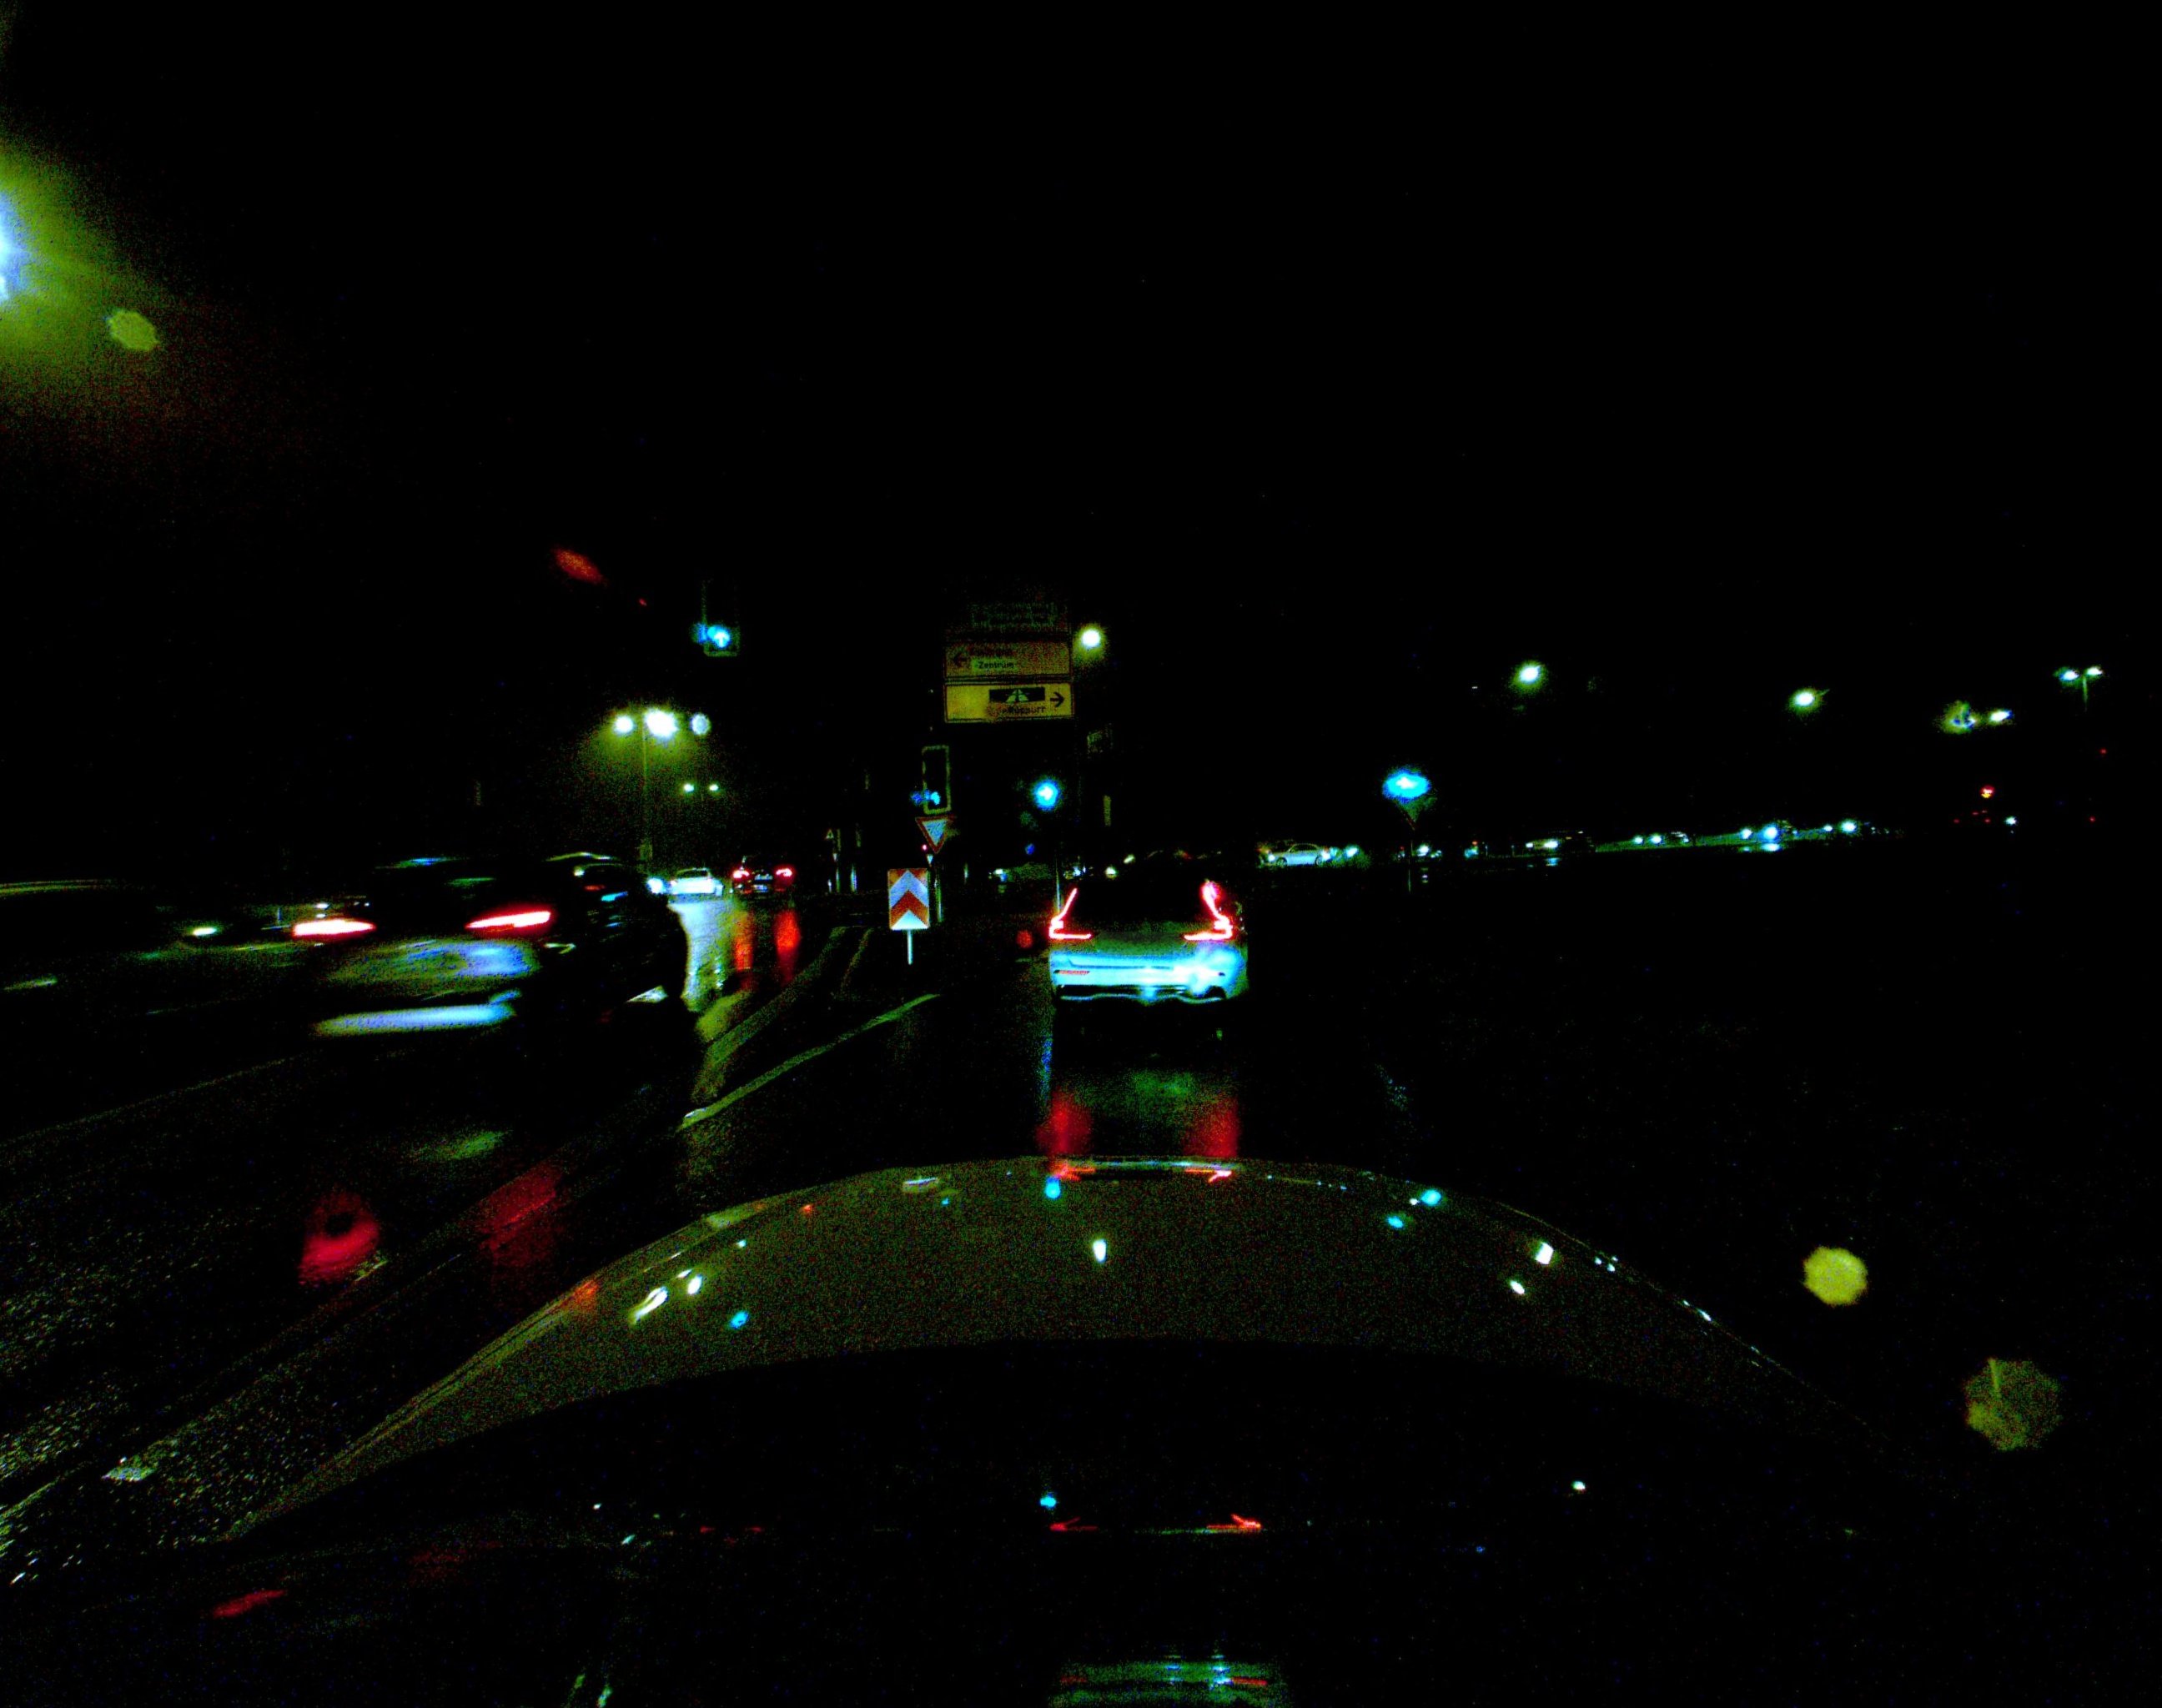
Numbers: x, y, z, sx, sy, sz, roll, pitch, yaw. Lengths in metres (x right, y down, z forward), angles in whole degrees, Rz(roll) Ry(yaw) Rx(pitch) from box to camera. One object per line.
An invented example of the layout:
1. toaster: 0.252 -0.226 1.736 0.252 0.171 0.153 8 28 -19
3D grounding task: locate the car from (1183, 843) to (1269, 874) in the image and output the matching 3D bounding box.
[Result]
1. car: 7.441 0.240 41.783 4.060 1.487 1.706 -1 -1 -21

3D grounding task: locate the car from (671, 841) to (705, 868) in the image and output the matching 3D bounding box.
1. car: -31.279 0.061 64.937 1.779 2.079 3.978 0 -1 -16

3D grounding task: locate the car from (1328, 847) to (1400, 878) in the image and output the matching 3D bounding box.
1. car: 17.555 0.509 50.508 4.131 1.848 1.751 -1 -1 -25

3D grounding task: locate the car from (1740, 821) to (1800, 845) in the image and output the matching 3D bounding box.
1. car: 50.894 -1.584 60.152 4.314 1.578 1.803 -2 -1 -26

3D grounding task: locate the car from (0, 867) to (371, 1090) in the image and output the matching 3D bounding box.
1. car: -8.179 0.852 6.517 1.736 1.436 4.277 0 0 -9

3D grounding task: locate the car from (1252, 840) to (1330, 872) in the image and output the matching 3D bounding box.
1. car: 12.382 0.123 47.961 4.257 1.799 1.789 -1 -1 -25

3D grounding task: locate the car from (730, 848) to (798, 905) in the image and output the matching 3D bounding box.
1. car: -10.171 0.650 25.938 1.836 1.653 4.444 0 0 -24

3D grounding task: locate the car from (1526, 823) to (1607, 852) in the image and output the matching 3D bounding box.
1. car: 28.422 -0.988 47.660 4.418 1.484 1.768 -2 -1 -24

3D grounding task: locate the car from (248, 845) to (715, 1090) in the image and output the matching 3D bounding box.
1. car: -4.937 0.775 7.538 1.850 1.591 4.009 -1 -1 -10

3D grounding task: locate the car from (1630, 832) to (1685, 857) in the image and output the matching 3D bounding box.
1. car: 45.450 -0.728 64.181 4.006 1.849 1.814 0 -1 -25

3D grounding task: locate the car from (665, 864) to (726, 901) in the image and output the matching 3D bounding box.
1. car: -16.396 1.180 34.814 1.658 1.445 3.772 -2 -1 -15

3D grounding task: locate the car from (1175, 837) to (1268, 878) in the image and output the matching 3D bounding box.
1. car: 6.548 0.156 37.973 3.906 1.725 1.752 -2 0 -23

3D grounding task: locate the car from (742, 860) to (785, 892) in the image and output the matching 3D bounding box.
1. car: -15.756 1.096 40.619 1.704 1.463 4.288 -2 -1 -18

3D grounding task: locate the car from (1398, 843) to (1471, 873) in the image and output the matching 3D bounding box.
1. car: 20.921 0.242 48.172 3.983 1.666 1.789 -1 -1 -25

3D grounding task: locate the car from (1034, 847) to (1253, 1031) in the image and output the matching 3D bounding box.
1. car: 0.923 0.682 8.824 1.784 1.452 4.283 -1 1 11

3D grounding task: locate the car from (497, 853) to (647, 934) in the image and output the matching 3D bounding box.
1. car: -11.944 0.879 19.431 1.913 1.658 3.966 -2 -1 -15

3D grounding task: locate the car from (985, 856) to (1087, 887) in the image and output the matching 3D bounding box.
1. car: -2.257 0.856 40.935 4.810 1.427 1.751 -1 -1 -24

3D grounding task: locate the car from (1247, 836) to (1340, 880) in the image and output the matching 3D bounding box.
1. car: 13.673 0.241 52.384 5.617 2.710 2.238 -1 -1 -24

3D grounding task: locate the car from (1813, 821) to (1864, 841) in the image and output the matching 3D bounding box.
1. car: 66.238 -1.986 71.202 4.495 1.666 1.789 0 0 -25

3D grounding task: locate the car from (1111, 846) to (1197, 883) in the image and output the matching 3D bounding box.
1. car: 3.948 0.550 43.741 4.292 1.848 1.751 -1 -1 -25
